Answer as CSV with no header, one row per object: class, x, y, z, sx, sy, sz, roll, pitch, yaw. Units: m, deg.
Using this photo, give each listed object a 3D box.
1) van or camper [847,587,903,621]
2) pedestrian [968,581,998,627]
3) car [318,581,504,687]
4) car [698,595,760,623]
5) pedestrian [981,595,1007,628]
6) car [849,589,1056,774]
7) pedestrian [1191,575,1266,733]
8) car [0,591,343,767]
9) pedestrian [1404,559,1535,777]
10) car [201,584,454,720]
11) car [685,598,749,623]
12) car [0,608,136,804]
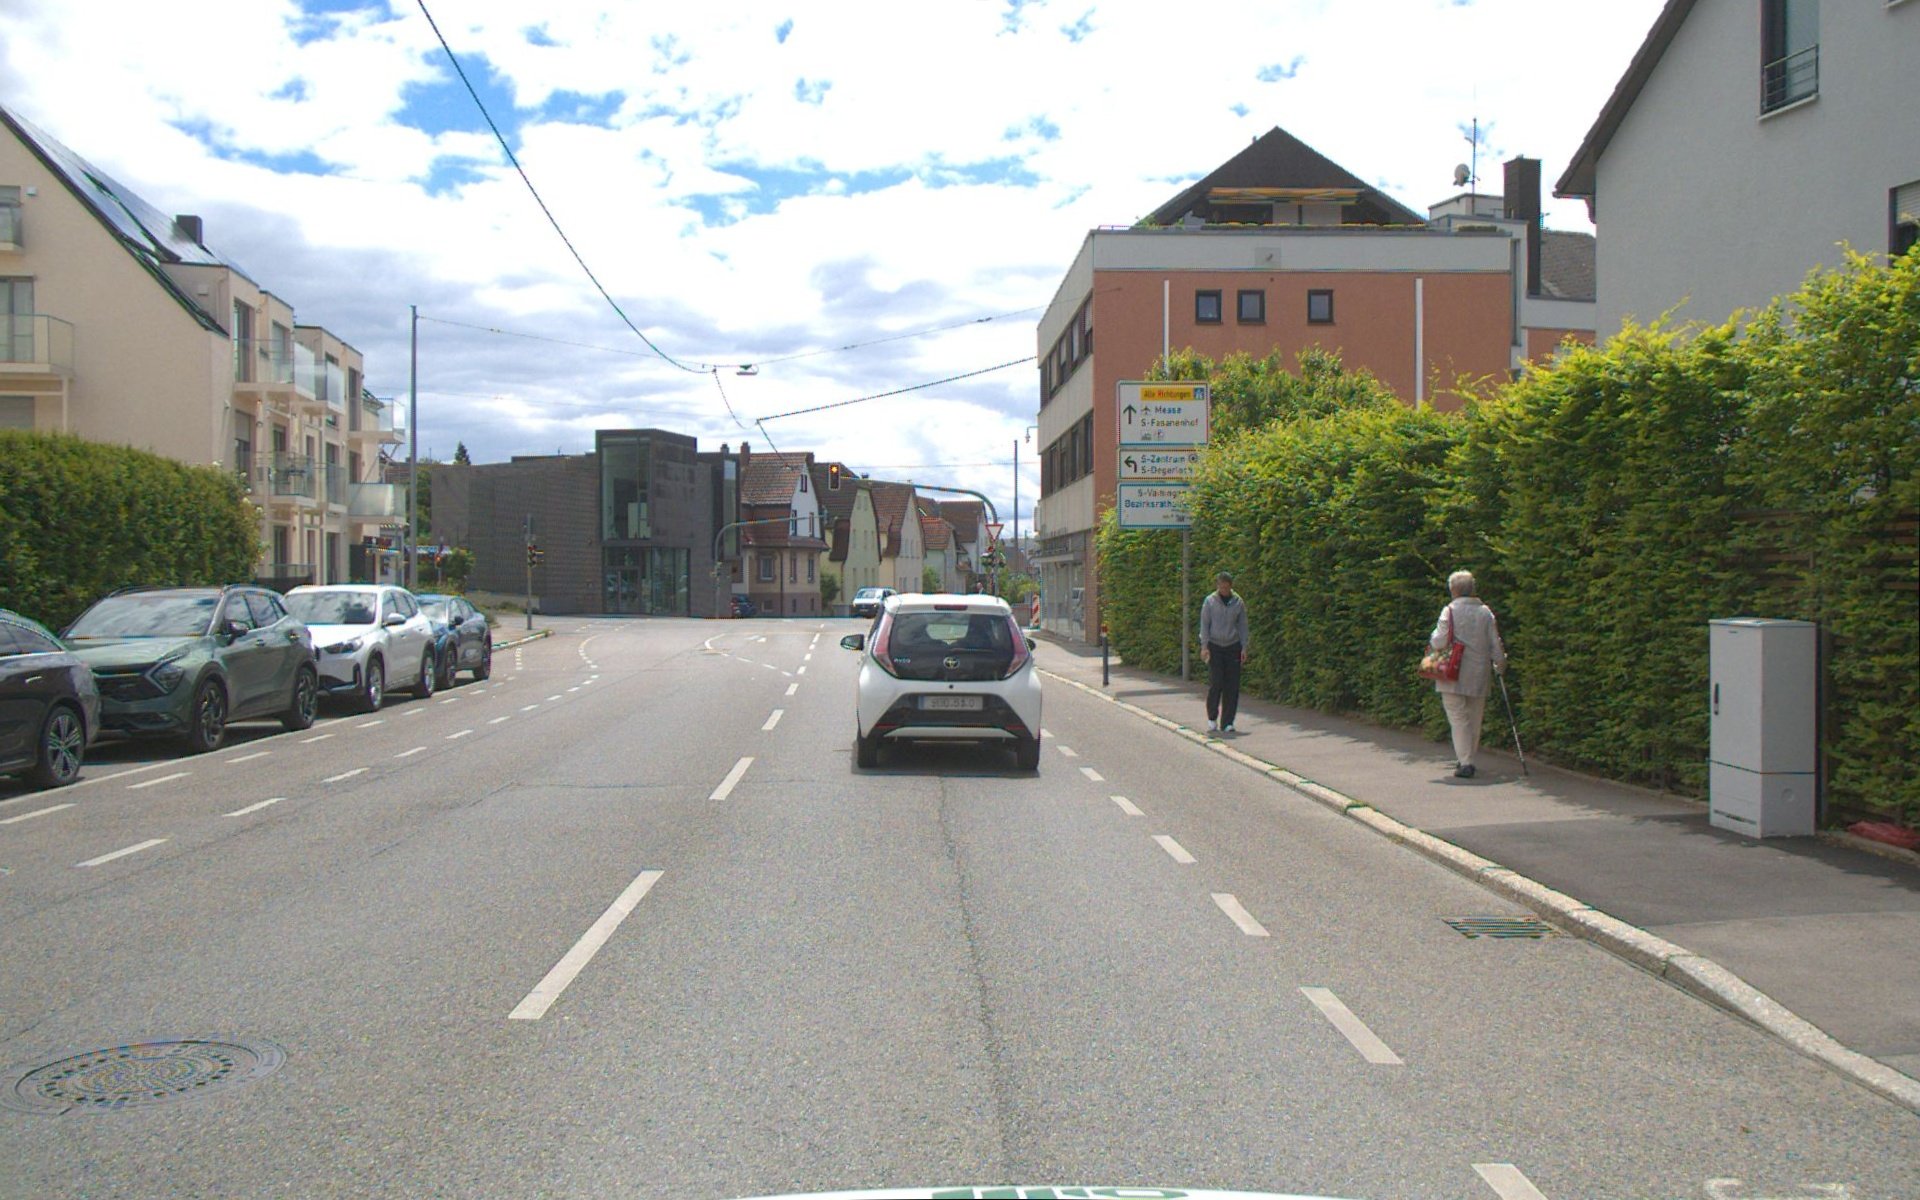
van or camper,-5.154,0.230,100.895,2.070,1.959,5.289,2,0,12
pedestrian,0.876,0.145,62.885,0.815,1.751,0.808,0,0,-33
car,-9.101,0.576,27.806,1.954,1.615,4.484,0,-1,-5
car,-14.730,0.574,105.522,3.537,1.633,1.693,2,0,8
pedestrian,1.279,0.427,62.278,0.727,1.243,0.638,0,0,-34
car,-0.112,0.677,15.266,1.663,1.482,3.297,2,0,-2
pedestrian,2.857,0.560,17.666,0.590,1.633,0.836,-2,0,-2
car,-8.325,0.713,17.415,1.953,1.591,4.688,0,0,-1
pedestrian,3.987,0.518,12.989,0.783,1.645,0.653,-1,0,-2
car,-8.560,0.636,22.843,1.954,1.679,4.514,0,0,-3
car,-15.182,0.649,103.369,3.537,1.444,1.693,2,0,8
car,-8.062,0.798,11.931,1.953,1.433,4.688,0,0,-1
